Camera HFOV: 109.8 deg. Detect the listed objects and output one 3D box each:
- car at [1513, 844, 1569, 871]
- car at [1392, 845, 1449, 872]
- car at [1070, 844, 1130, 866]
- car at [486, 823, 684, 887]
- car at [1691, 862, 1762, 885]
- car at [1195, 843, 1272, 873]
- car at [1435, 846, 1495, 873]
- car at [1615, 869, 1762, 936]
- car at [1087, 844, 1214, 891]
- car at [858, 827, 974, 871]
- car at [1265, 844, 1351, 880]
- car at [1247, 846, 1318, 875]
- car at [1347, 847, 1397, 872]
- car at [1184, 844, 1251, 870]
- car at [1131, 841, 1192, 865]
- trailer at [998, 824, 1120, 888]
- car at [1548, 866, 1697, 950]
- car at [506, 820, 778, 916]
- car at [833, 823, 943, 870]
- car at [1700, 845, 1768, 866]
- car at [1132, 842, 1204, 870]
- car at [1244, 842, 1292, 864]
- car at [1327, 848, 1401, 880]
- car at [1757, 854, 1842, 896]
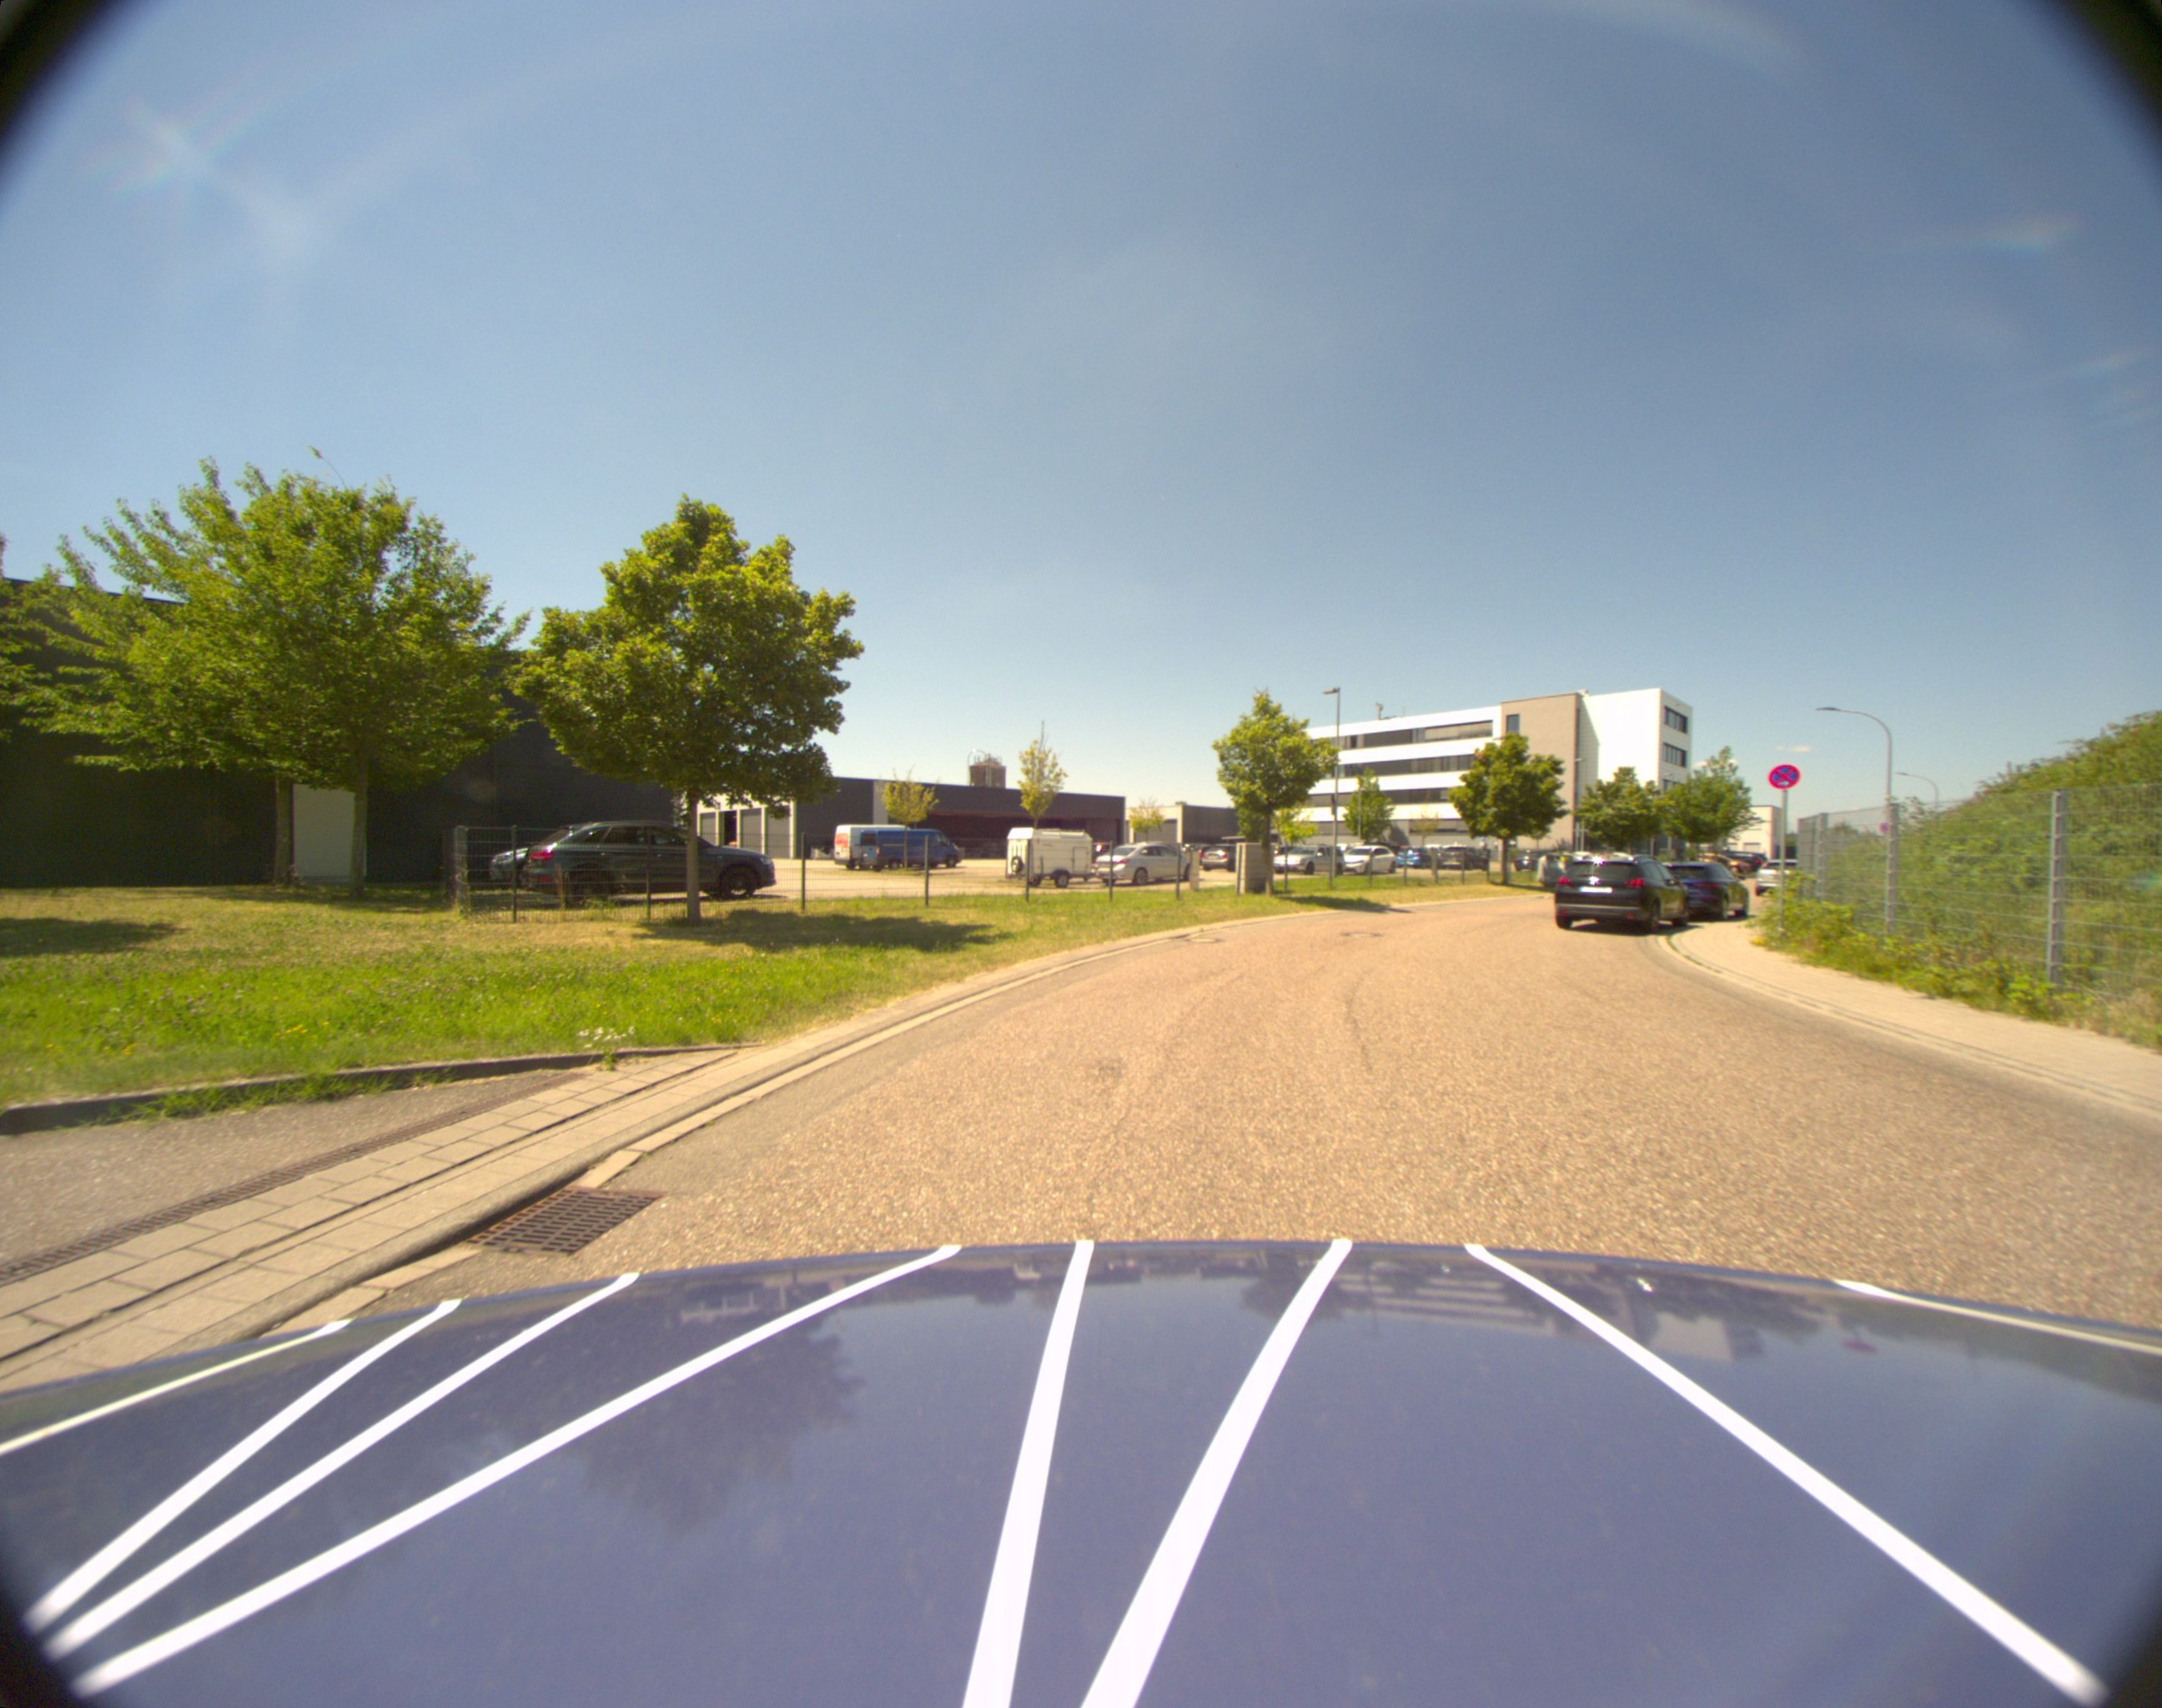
[{"bbox_3d":[28.924,0.276,47.739,3.935,1.445,1.827,4,-4,-41],"label":"car"},{"bbox_3d":[21.695,0.324,48.548,3.935,1.445,1.827,4,-4,-41],"label":"car"},{"bbox_3d":[1.379,0.093,53.834,3.933,1.490,1.849,1,1,-39],"label":"car"},{"bbox_3d":[-13.152,0.046,20.303,4.181,1.558,1.775,2,1,-42],"label":"car"},{"bbox_3d":[50.445,1.497,59.404,1.894,1.693,3.989,0,-1,-41],"label":"car"},{"bbox_3d":[7.956,0.205,39.520,3.933,1.490,1.849,1,1,-39],"label":"car"},{"bbox_3d":[23.565,0.329,46.595,3.933,1.565,1.827,1,1,-41],"label":"car"},{"bbox_3d":[15.574,1.156,19.417,4.291,1.446,1.935,1,1,-38],"label":"car"},{"bbox_3d":[2.692,0.430,28.604,4.865,1.490,1.849,-3,2,-40],"label":"car"},{"bbox_3d":[-8.882,-0.364,41.271,5.844,2.213,2.137,-2,4,-42],"label":"car"},{"bbox_3d":[10.676,0.387,35.595,4.300,1.489,1.849,4,-2,-42],"label":"car"},{"bbox_3d":[11.429,0.397,42.962,3.934,1.490,1.849,2,1,-39],"label":"car"},{"bbox_3d":[22.424,0.467,58.455,3.934,1.634,1.827,4,-4,-38],"label":"car"},{"bbox_3d":[8.309,0.210,46.208,3.933,1.490,1.849,1,1,-39],"label":"car"},{"bbox_3d":[5.394,-0.082,50.636,3.932,1.490,1.849,-2,2,-39],"label":"car"},{"bbox_3d":[-0.706,0.118,25.781,3.747,1.987,1.849,2,-1,-40],"label":"trailer"},{"bbox_3d":[11.613,1.042,16.185,4.141,1.546,1.654,1,0,-41],"label":"car"},{"bbox_3d":[-8.391,0.184,14.785,4.291,1.592,1.775,-1,2,-42],"label":"car"},{"bbox_3d":[-10.939,-0.487,43.446,5.689,2.443,2.190,-3,3,-43],"label":"car"},{"bbox_3d":[53.215,0.157,61.947,1.894,1.630,3.989,0,-1,-41],"label":"car"},{"bbox_3d":[4.998,0.126,43.533,3.933,1.490,1.849,1,1,-39],"label":"car"},{"bbox_3d":[15.530,-0.065,63.006,3.934,1.527,1.828,4,-4,-38],"label":"car"},{"bbox_3d":[14.677,0.464,39.300,3.932,1.490,1.849,-2,3,-39],"label":"car"},{"bbox_3d":[28.749,0.830,30.381,3.956,1.511,1.849,1,1,-38],"label":"car"}]
